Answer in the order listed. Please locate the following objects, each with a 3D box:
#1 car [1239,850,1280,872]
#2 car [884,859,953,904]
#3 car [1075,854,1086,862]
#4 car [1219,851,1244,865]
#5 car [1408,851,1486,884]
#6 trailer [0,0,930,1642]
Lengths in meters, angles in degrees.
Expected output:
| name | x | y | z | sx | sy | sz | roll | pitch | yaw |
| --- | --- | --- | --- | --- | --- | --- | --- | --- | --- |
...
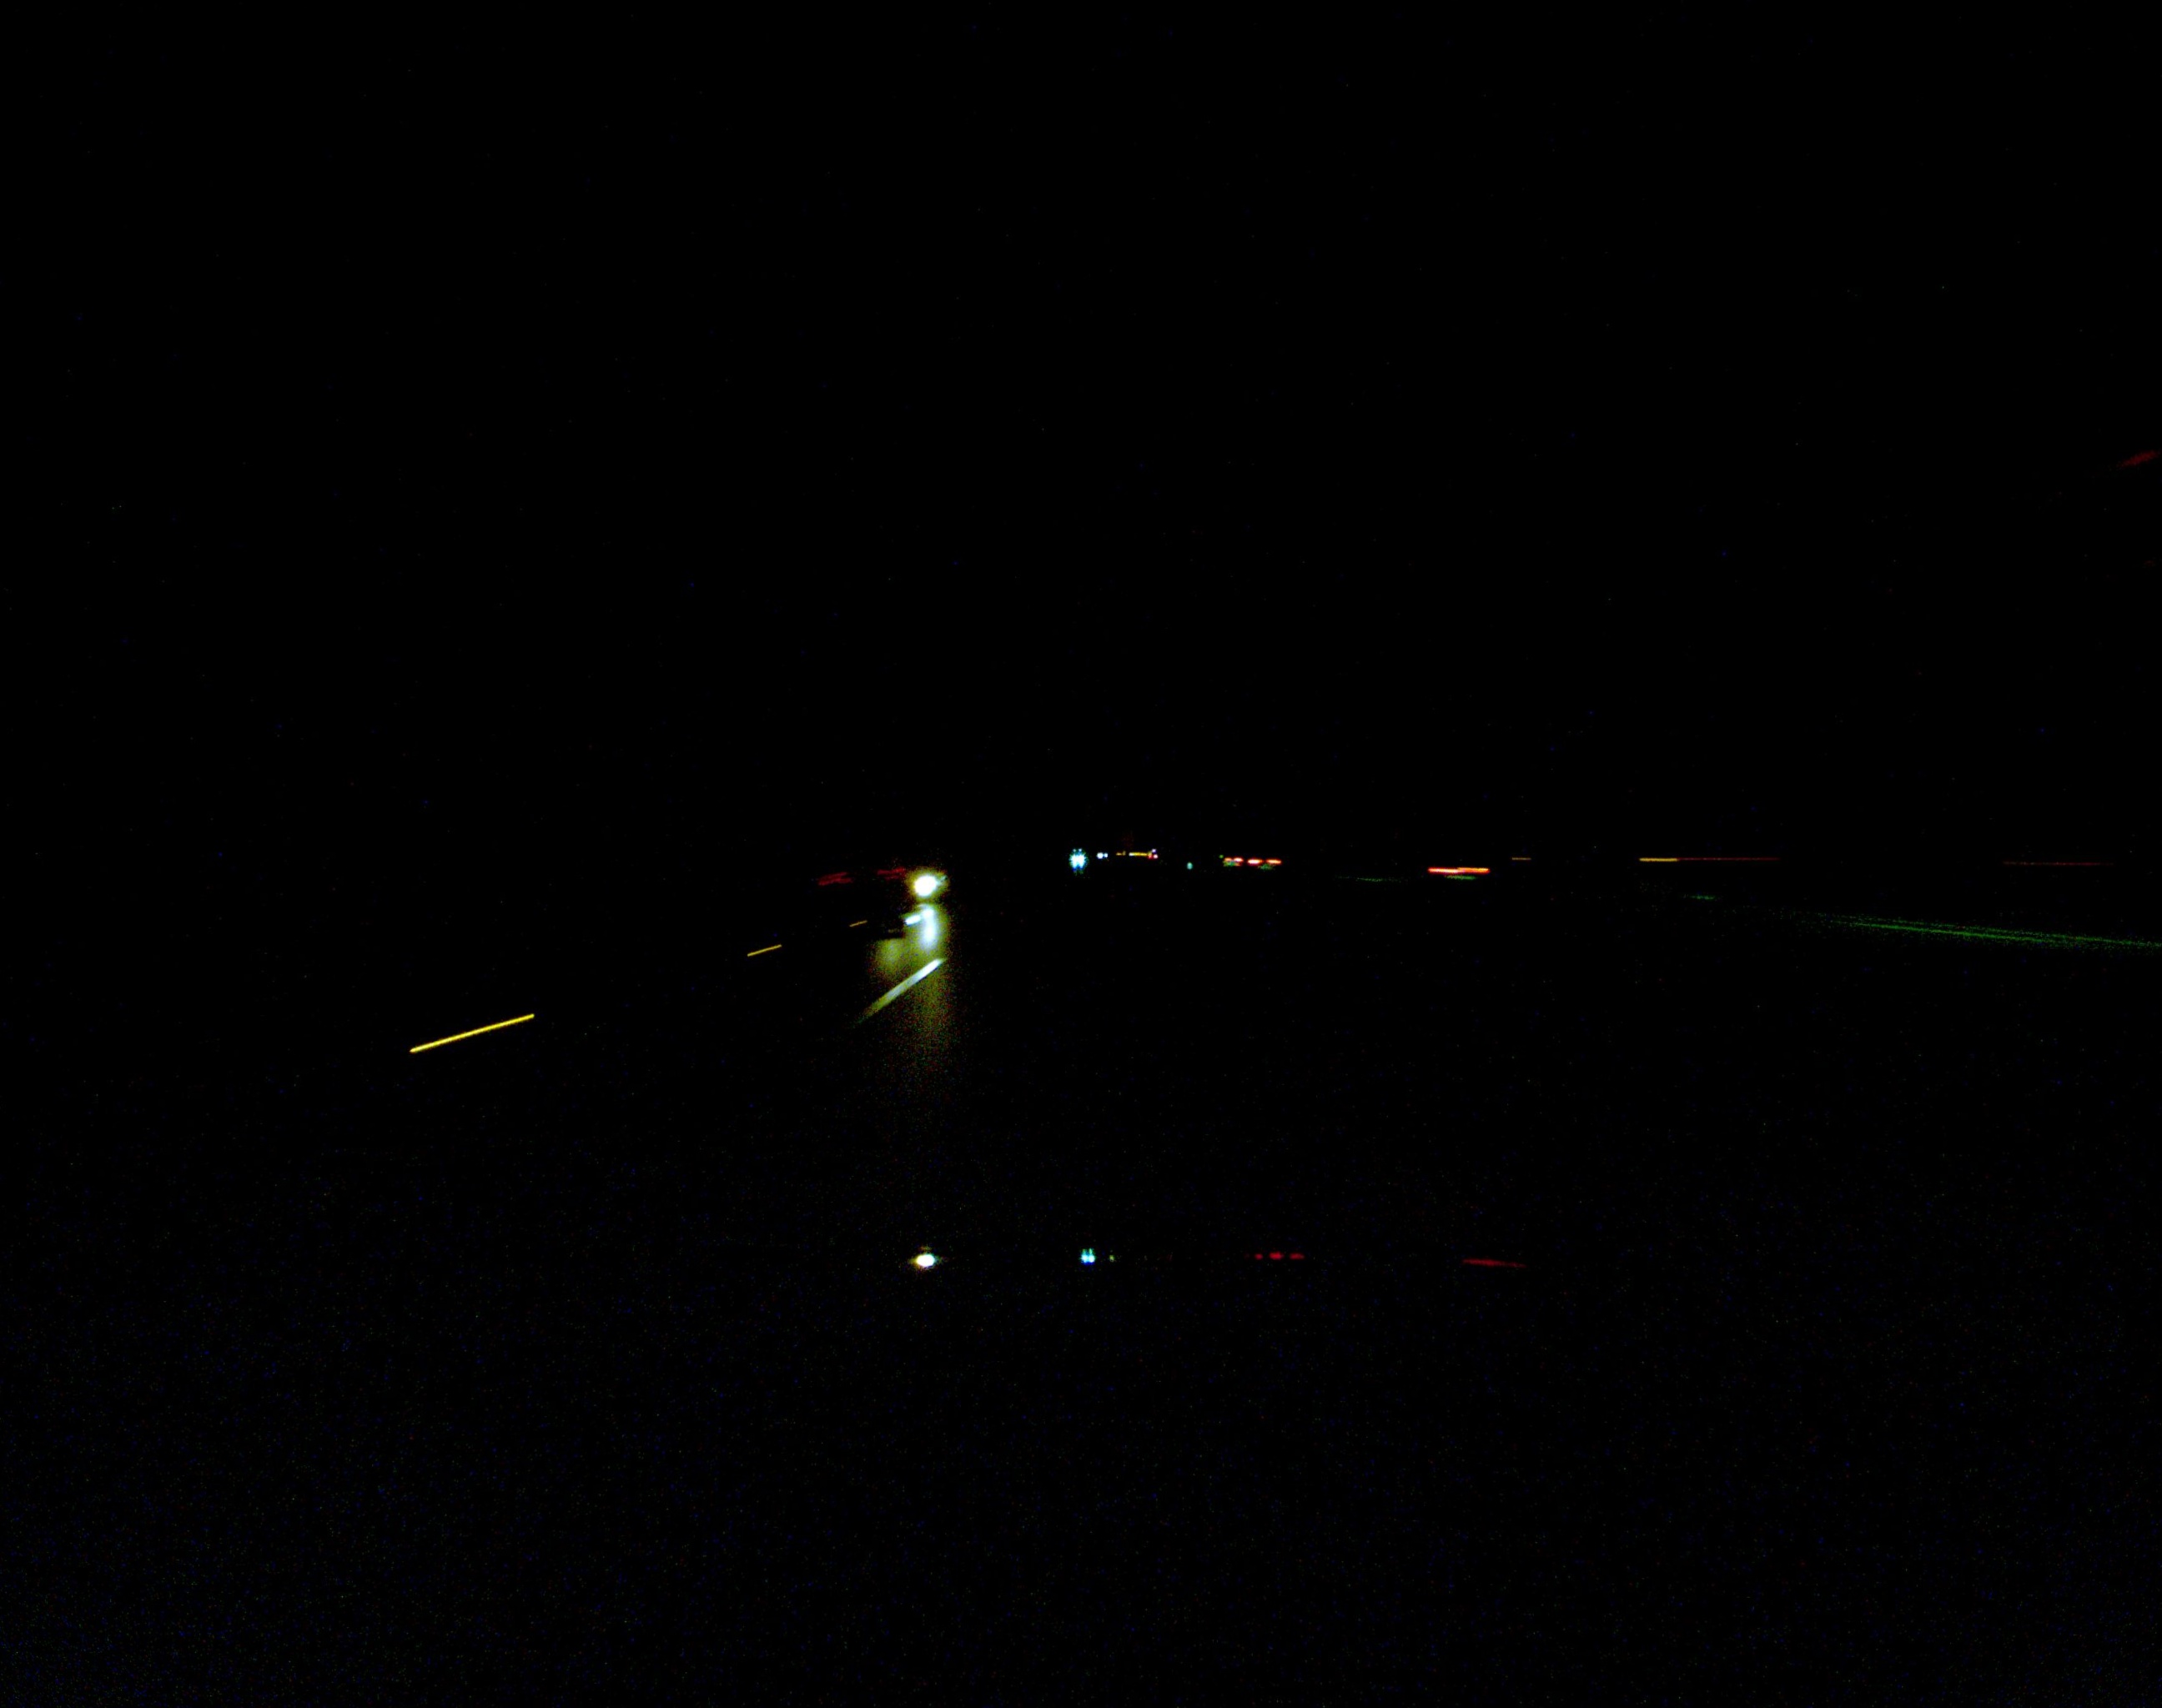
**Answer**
| name | x | y | z | sx | sy | sz | roll | pitch | yaw |
| --- | --- | --- | --- | --- | --- | --- | --- | --- | --- |
| car | 12.296 | 0.465 | 52.572 | 1.754 | 1.470 | 4.763 | 0 | 0 | 1 |
| car | -6.149 | 1.010 | 29.238 | 1.826 | 1.458 | 4.246 | -3 | 0 | -3 |
| car | -0.137 | 0.912 | 174.630 | 2.267 | 1.842 | 5.403 | -3 | 0 | 0 |
| car | 16.361 | 0.431 | 82.992 | 1.754 | 1.470 | 4.942 | 0 | 0 | 0 |
| car | 17.770 | 0.623 | 37.167 | 1.754 | 1.470 | 4.481 | 0 | 0 | 2 |
| trailer | -3.832 | -0.300 | 4.694 | 2.749 | 4.182 | 13.509 | -3 | 0 | 1 |
